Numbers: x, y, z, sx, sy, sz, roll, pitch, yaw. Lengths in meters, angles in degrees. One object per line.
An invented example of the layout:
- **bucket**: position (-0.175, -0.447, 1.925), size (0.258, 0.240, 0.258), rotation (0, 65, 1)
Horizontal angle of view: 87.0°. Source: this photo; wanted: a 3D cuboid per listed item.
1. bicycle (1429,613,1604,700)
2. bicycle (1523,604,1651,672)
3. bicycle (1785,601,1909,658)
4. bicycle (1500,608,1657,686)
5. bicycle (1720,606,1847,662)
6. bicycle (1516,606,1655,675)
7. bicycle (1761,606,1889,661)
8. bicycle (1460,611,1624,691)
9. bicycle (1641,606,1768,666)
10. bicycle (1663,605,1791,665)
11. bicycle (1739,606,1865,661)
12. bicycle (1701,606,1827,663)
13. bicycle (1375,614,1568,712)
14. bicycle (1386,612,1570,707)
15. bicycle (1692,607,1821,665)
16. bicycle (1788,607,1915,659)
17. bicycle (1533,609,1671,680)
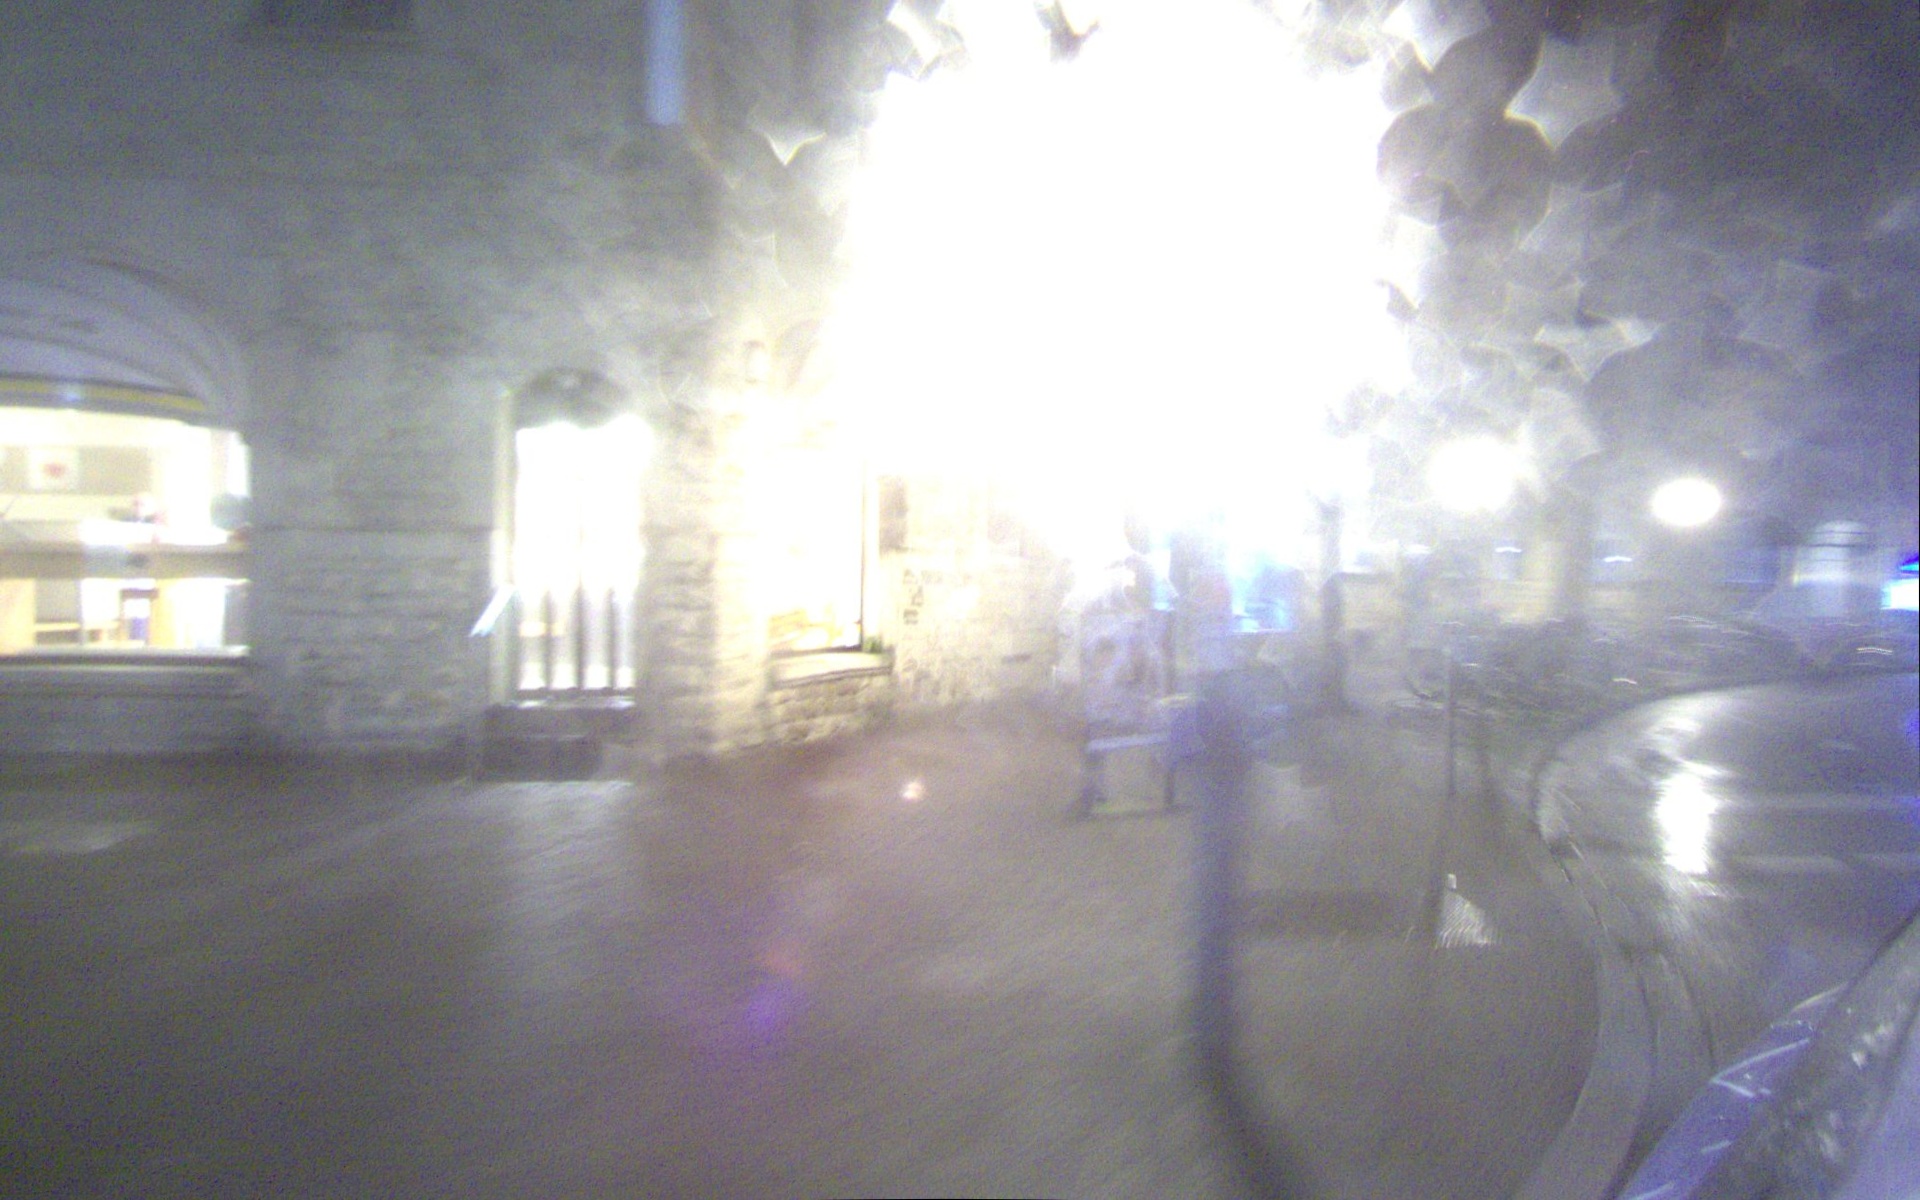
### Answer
- **bicycle**: position (7.441, 0.719, 13.608), size (1.969, 1.019, 0.632), rotation (1, 1, 45)
- **bicycle**: position (11.111, 0.644, 17.970), size (0.709, 1.100, 1.820), rotation (-1, 1, -45)
- **bicycle**: position (19.220, 0.607, 21.981), size (0.715, 1.129, 1.937), rotation (0, 1, -17)
- **bicycle**: position (9.456, 0.686, 15.529), size (1.969, 1.078, 0.632), rotation (1, 1, 45)
- **bicycle**: position (16.725, 0.670, 20.613), size (0.629, 1.019, 1.979), rotation (0, 1, -17)
- **bicycle**: position (10.497, 0.662, 17.073), size (1.958, 1.067, 0.636), rotation (1, 1, 30)
- **bicycle**: position (18.042, 0.673, 21.165), size (0.673, 1.019, 1.979), rotation (0, 1, -17)
- **bicycle**: position (8.403, 0.707, 14.679), size (1.969, 1.019, 0.632), rotation (1, 1, 45)
- **bicycle**: position (14.265, 0.661, 19.474), size (0.629, 1.019, 1.979), rotation (0, 1, -17)
- **bicycle**: position (14.904, 0.651, 19.738), size (0.629, 1.046, 1.979), rotation (0, 1, -17)
- **bicycle**: position (17.375, 0.671, 20.950), size (0.629, 1.019, 1.979), rotation (0, 1, -17)
- **bicycle**: position (16.131, 0.668, 20.376), size (0.629, 1.019, 1.979), rotation (0, 1, -17)
- **bicycle**: position (6.080, 0.711, 12.118), size (1.969, 1.019, 0.632), rotation (1, 1, 45)
- **bicycle**: position (6.460, 0.699, 12.715), size (1.969, 1.047, 0.632), rotation (1, 1, 45)
- **bicycle**: position (15.617, 0.671, 19.906), size (0.629, 1.019, 1.979), rotation (0, 1, -17)
- **bicycle**: position (18.837, 0.676, 21.446), size (0.715, 1.000, 1.937), rotation (0, 1, -17)
- **bicycle**: position (10.522, 0.698, 16.667), size (0.629, 1.019, 1.979), rotation (0, 1, -17)
